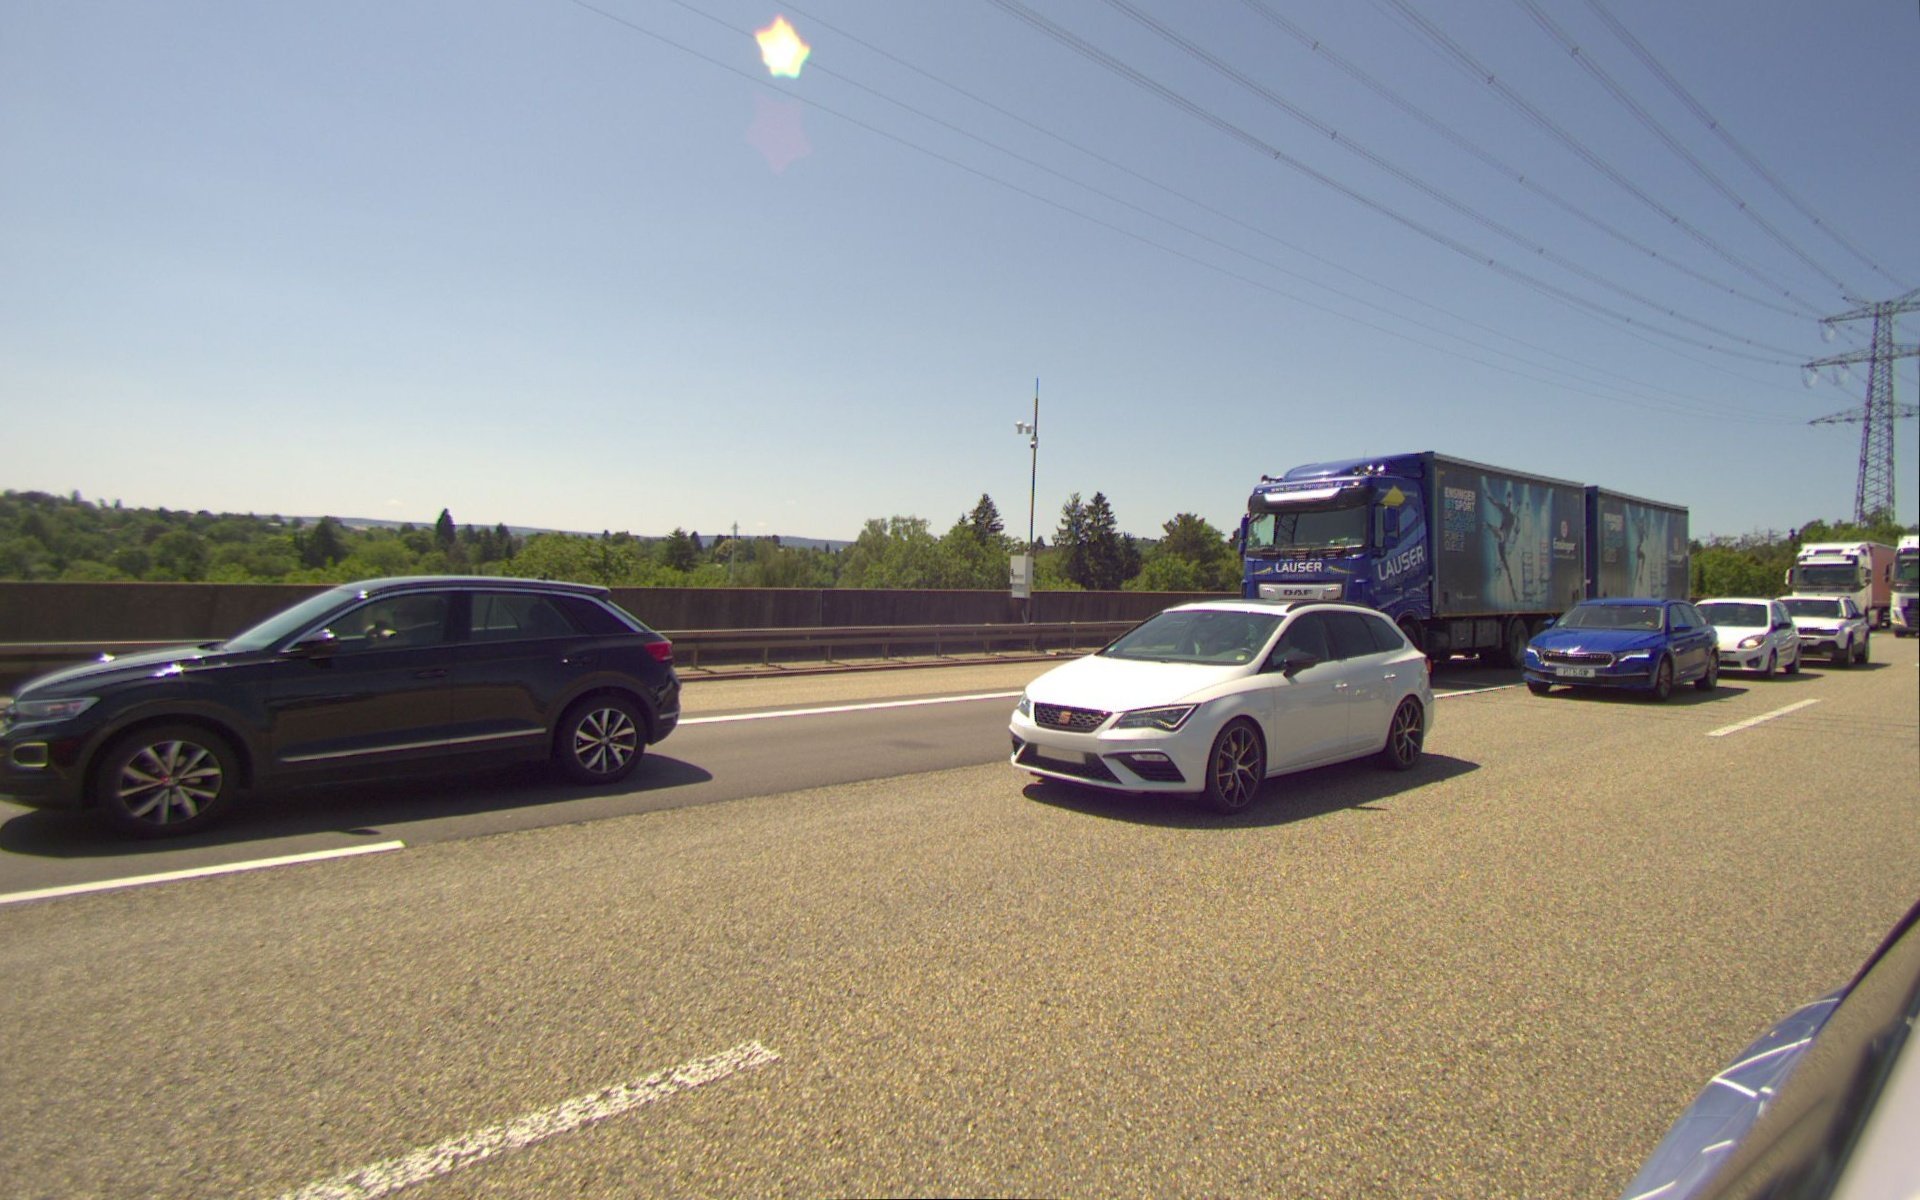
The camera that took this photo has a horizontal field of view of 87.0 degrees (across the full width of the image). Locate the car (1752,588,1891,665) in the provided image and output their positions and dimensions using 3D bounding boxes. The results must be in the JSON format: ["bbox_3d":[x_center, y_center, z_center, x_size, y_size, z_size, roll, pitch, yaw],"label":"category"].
[{"bbox_3d":[19.189,0.517,22.481,4.071,1.529,1.712,-1,1,-40],"label":"car"}]

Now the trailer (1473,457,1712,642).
[{"bbox_3d":[16.683,-1.179,26.394,8.485,4.140,2.833,-1,0,-40],"label":"trailer"}]

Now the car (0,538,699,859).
[{"bbox_3d":[-4.118,0.489,7.220,4.046,1.675,1.711,-1,1,-41],"label":"car"}]

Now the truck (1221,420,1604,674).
[{"bbox_3d":[9.492,-0.898,20.320,10.210,3.999,2.857,-1,0,-40],"label":"truck"}]

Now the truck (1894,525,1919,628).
[{"bbox_3d":[39.475,-0.916,40.044,8.121,3.874,2.847,-1,0,-41],"label":"truck"}]

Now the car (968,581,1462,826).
[{"bbox_3d":[2.250,0.626,8.160,4.351,1.470,1.711,0,0,-41],"label":"car"}]

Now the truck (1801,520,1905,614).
[{"bbox_3d":[41.612,-1.475,47.041,8.121,4.038,2.606,-1,0,-41],"label":"truck"}]

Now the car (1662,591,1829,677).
[{"bbox_3d":[15.101,0.568,19.383,4.071,1.470,1.712,-1,1,-40],"label":"car"}]

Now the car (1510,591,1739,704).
[{"bbox_3d":[10.244,0.603,15.464,4.482,1.470,1.712,-1,1,-40],"label":"car"}]

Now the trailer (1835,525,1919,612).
[{"bbox_3d":[48.070,-1.570,52.669,8.927,4.169,2.606,-1,0,-41],"label":"trailer"}]
